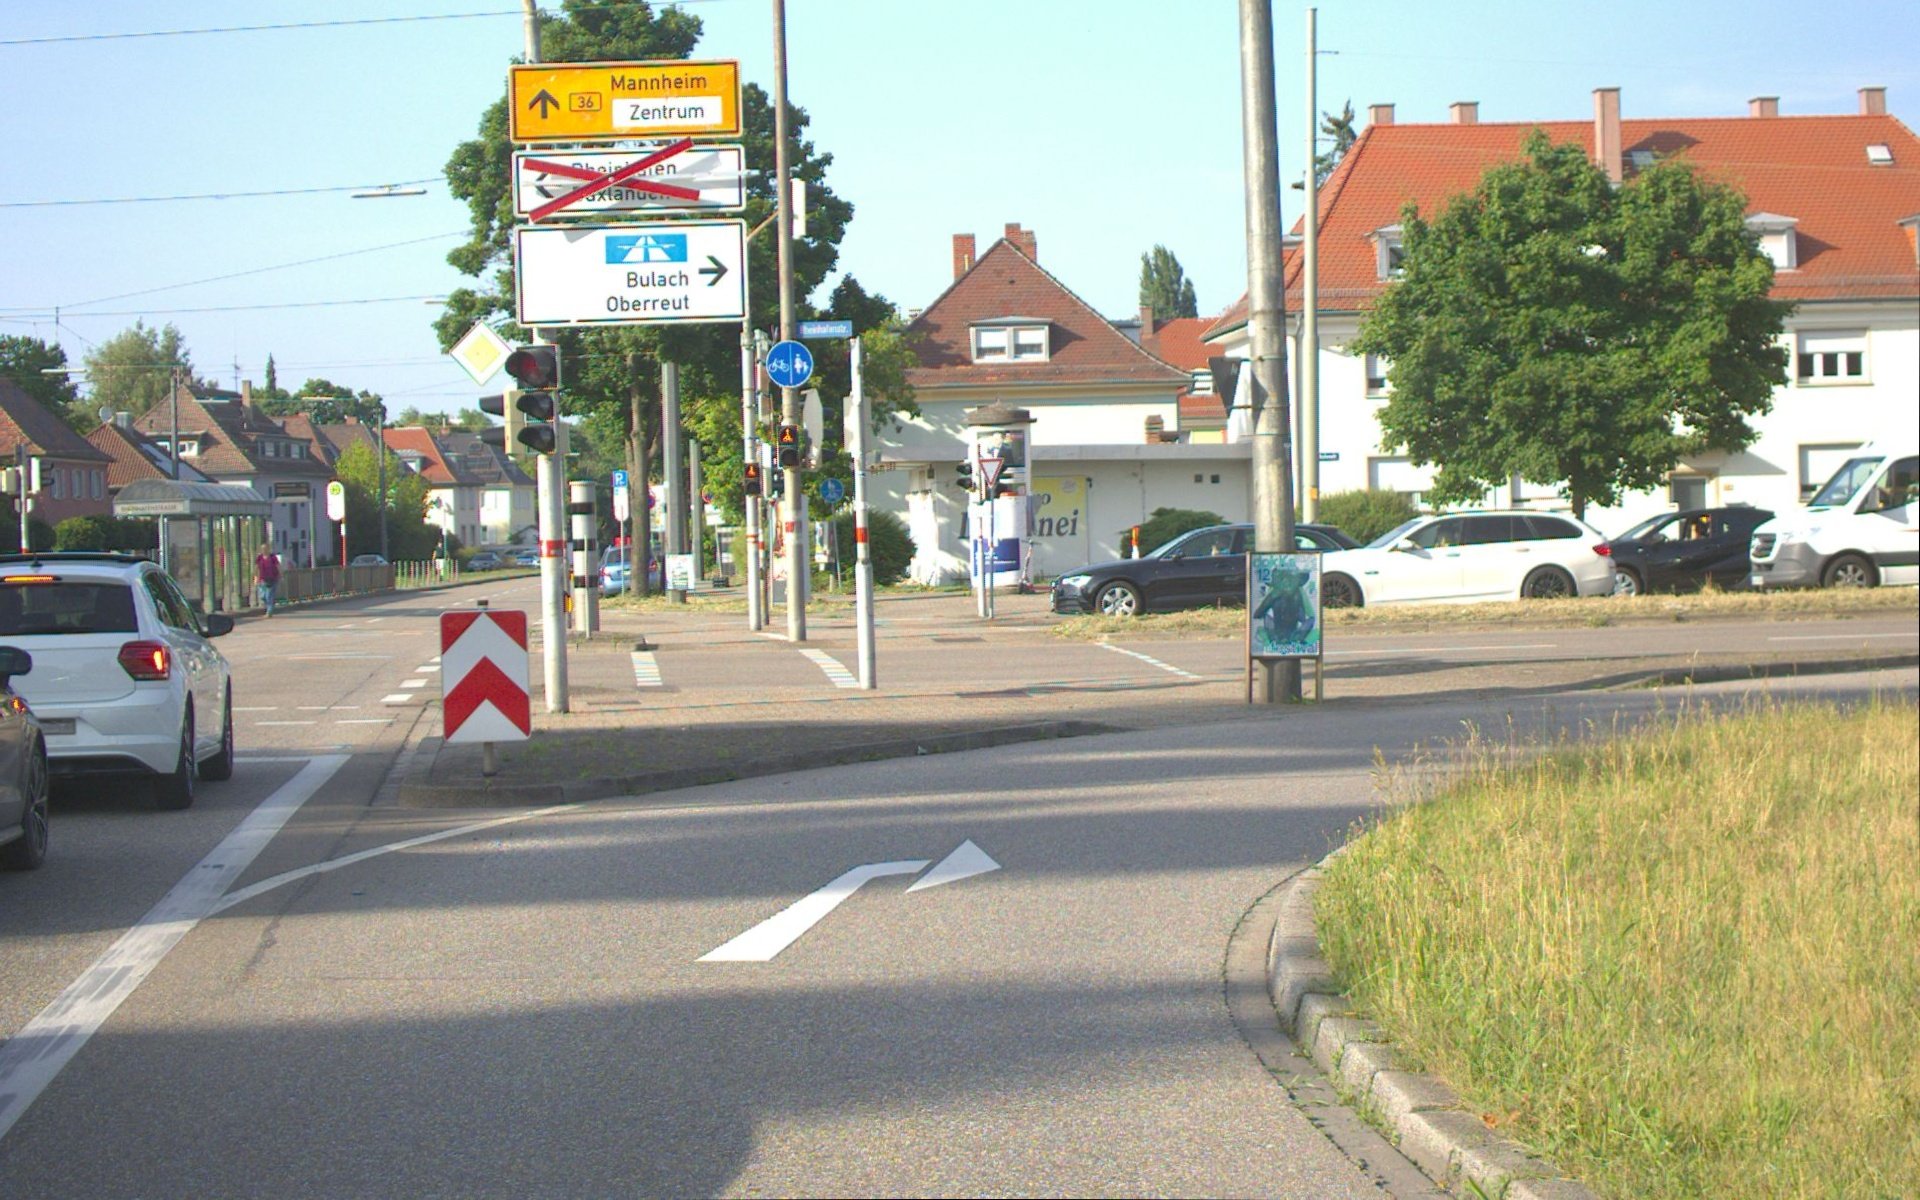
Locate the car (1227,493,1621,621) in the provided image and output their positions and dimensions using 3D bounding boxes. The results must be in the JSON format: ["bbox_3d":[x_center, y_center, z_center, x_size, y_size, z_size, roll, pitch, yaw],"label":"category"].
[{"bbox_3d":[6.385,-0.606,47.659,5.094,1.557,1.840,-2,1,-4],"label":"car"}]

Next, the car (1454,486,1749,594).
[{"bbox_3d":[9.577,-0.904,51.486,3.986,1.448,1.716,-2,1,-4],"label":"car"}]

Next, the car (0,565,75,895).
[{"bbox_3d":[-4.955,0.595,14.709,1.641,1.392,3.828,-2,1,-6],"label":"car"}]

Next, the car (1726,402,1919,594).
[{"bbox_3d":[14.165,-1.487,48.411,6.207,2.574,2.000,-2,1,-5],"label":"car"}]

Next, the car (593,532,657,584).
[{"bbox_3d":[-9.201,-1.136,94.614,1.674,1.393,4.001,0,0,-5],"label":"car"}]

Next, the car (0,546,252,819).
[{"bbox_3d":[-5.295,0.431,20.797,1.656,1.438,4.015,-2,1,-8],"label":"car"}]

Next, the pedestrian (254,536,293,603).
[{"bbox_3d":[-15.463,-0.677,77.467,0.753,1.494,0.827,0,0,-3],"label":"pedestrian"}]

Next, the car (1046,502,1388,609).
[{"bbox_3d":[3.787,-0.666,51.072,4.823,1.406,1.716,-2,1,-4],"label":"car"}]
